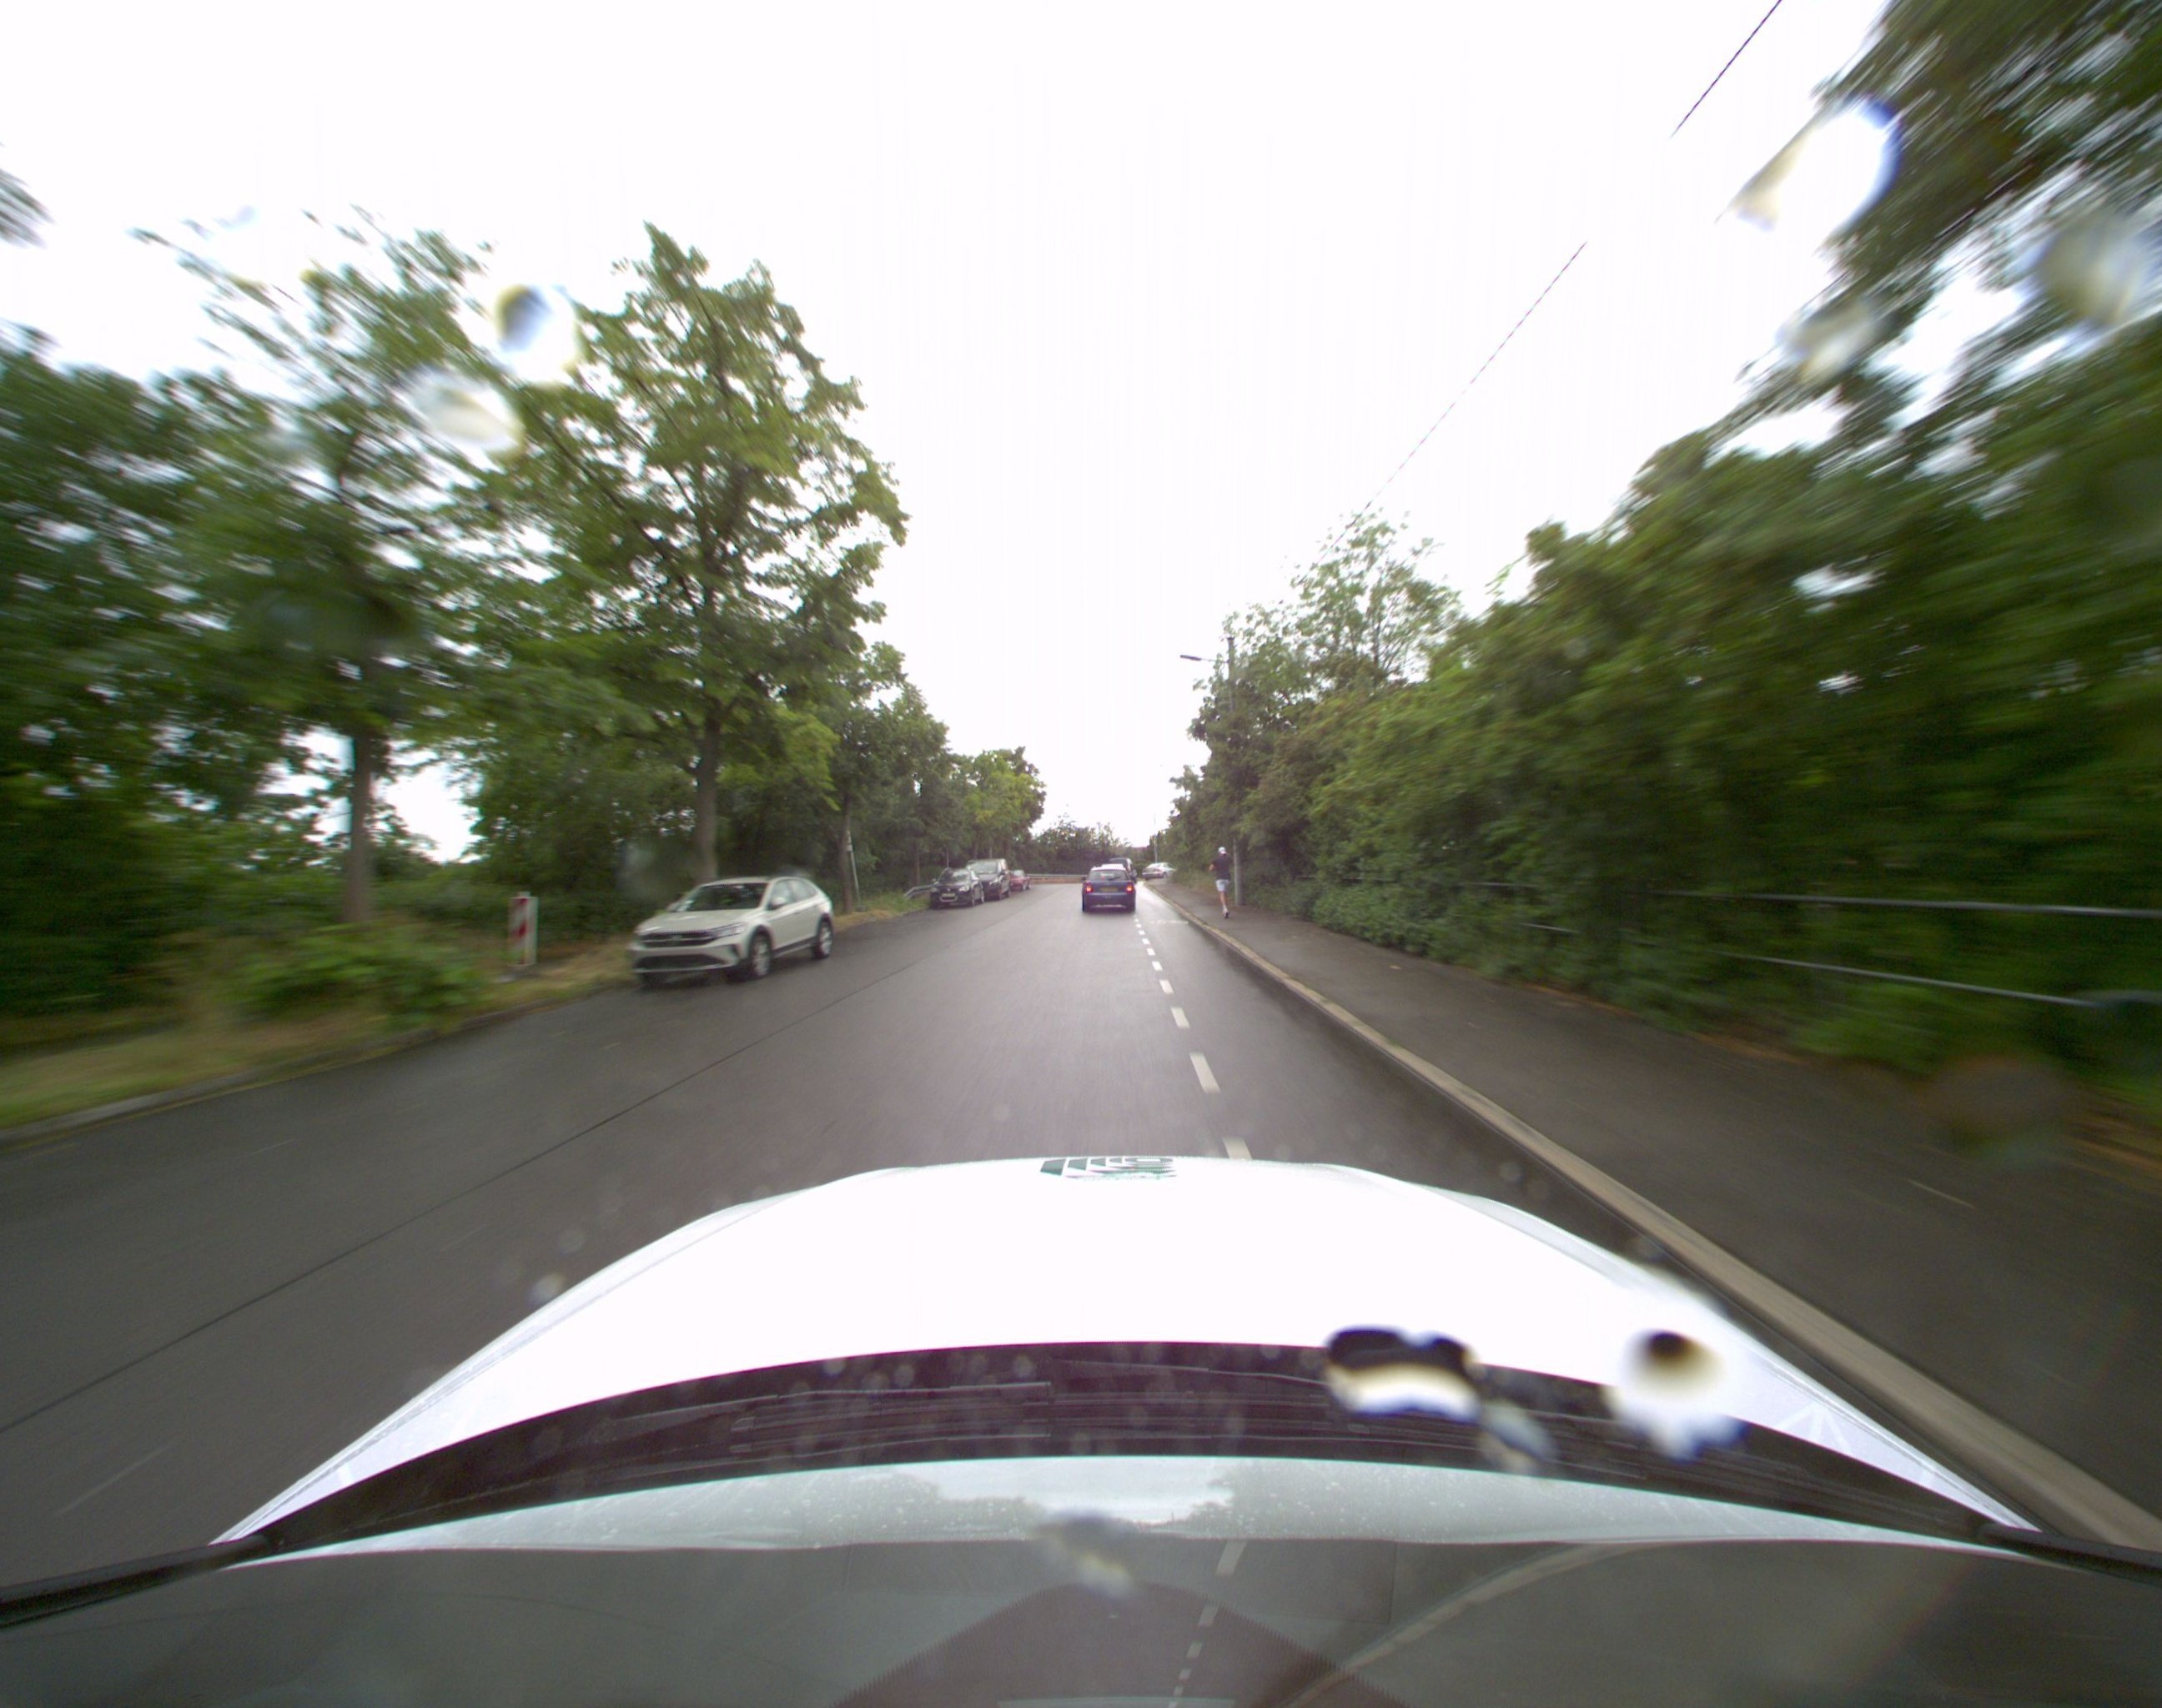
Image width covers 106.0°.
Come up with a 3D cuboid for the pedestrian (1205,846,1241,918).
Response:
[{"bbox_3d":[3.750,0.735,21.577,0.713,1.835,1.022,-4,-1,4],"label":"pedestrian"}]

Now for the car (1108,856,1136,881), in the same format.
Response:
[{"bbox_3d":[2.896,1.047,57.830,1.815,1.617,3.786,-3,-1,1],"label":"car"}]

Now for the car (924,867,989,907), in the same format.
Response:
[{"bbox_3d":[-4.943,1.303,32.874,1.791,1.437,4.256,-2,-1,1],"label":"car"}]

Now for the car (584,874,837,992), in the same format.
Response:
[{"bbox_3d":[-5.412,1.068,12.598,1.681,1.437,4.260,-2,-1,4],"label":"car"}]

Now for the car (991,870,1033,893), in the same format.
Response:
[{"bbox_3d":[-4.151,1.637,49.534,1.781,1.297,4.330,-2,-1,4],"label":"car"}]

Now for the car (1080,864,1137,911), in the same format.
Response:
[{"bbox_3d":[0.913,1.084,27.410,1.741,1.407,4.001,-2,-1,1],"label":"car"}]

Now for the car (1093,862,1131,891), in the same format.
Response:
[{"bbox_3d":[1.670,1.194,43.526,1.883,1.389,4.003,-2,-1,3],"label":"car"}]

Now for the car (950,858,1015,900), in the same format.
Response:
[{"bbox_3d":[-4.596,1.164,38.847,2.075,1.819,5.384,-2,-1,3],"label":"car"}]

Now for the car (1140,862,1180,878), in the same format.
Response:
[{"bbox_3d":[6.553,1.331,67.420,1.804,1.202,3.809,-4,-1,31],"label":"car"}]
